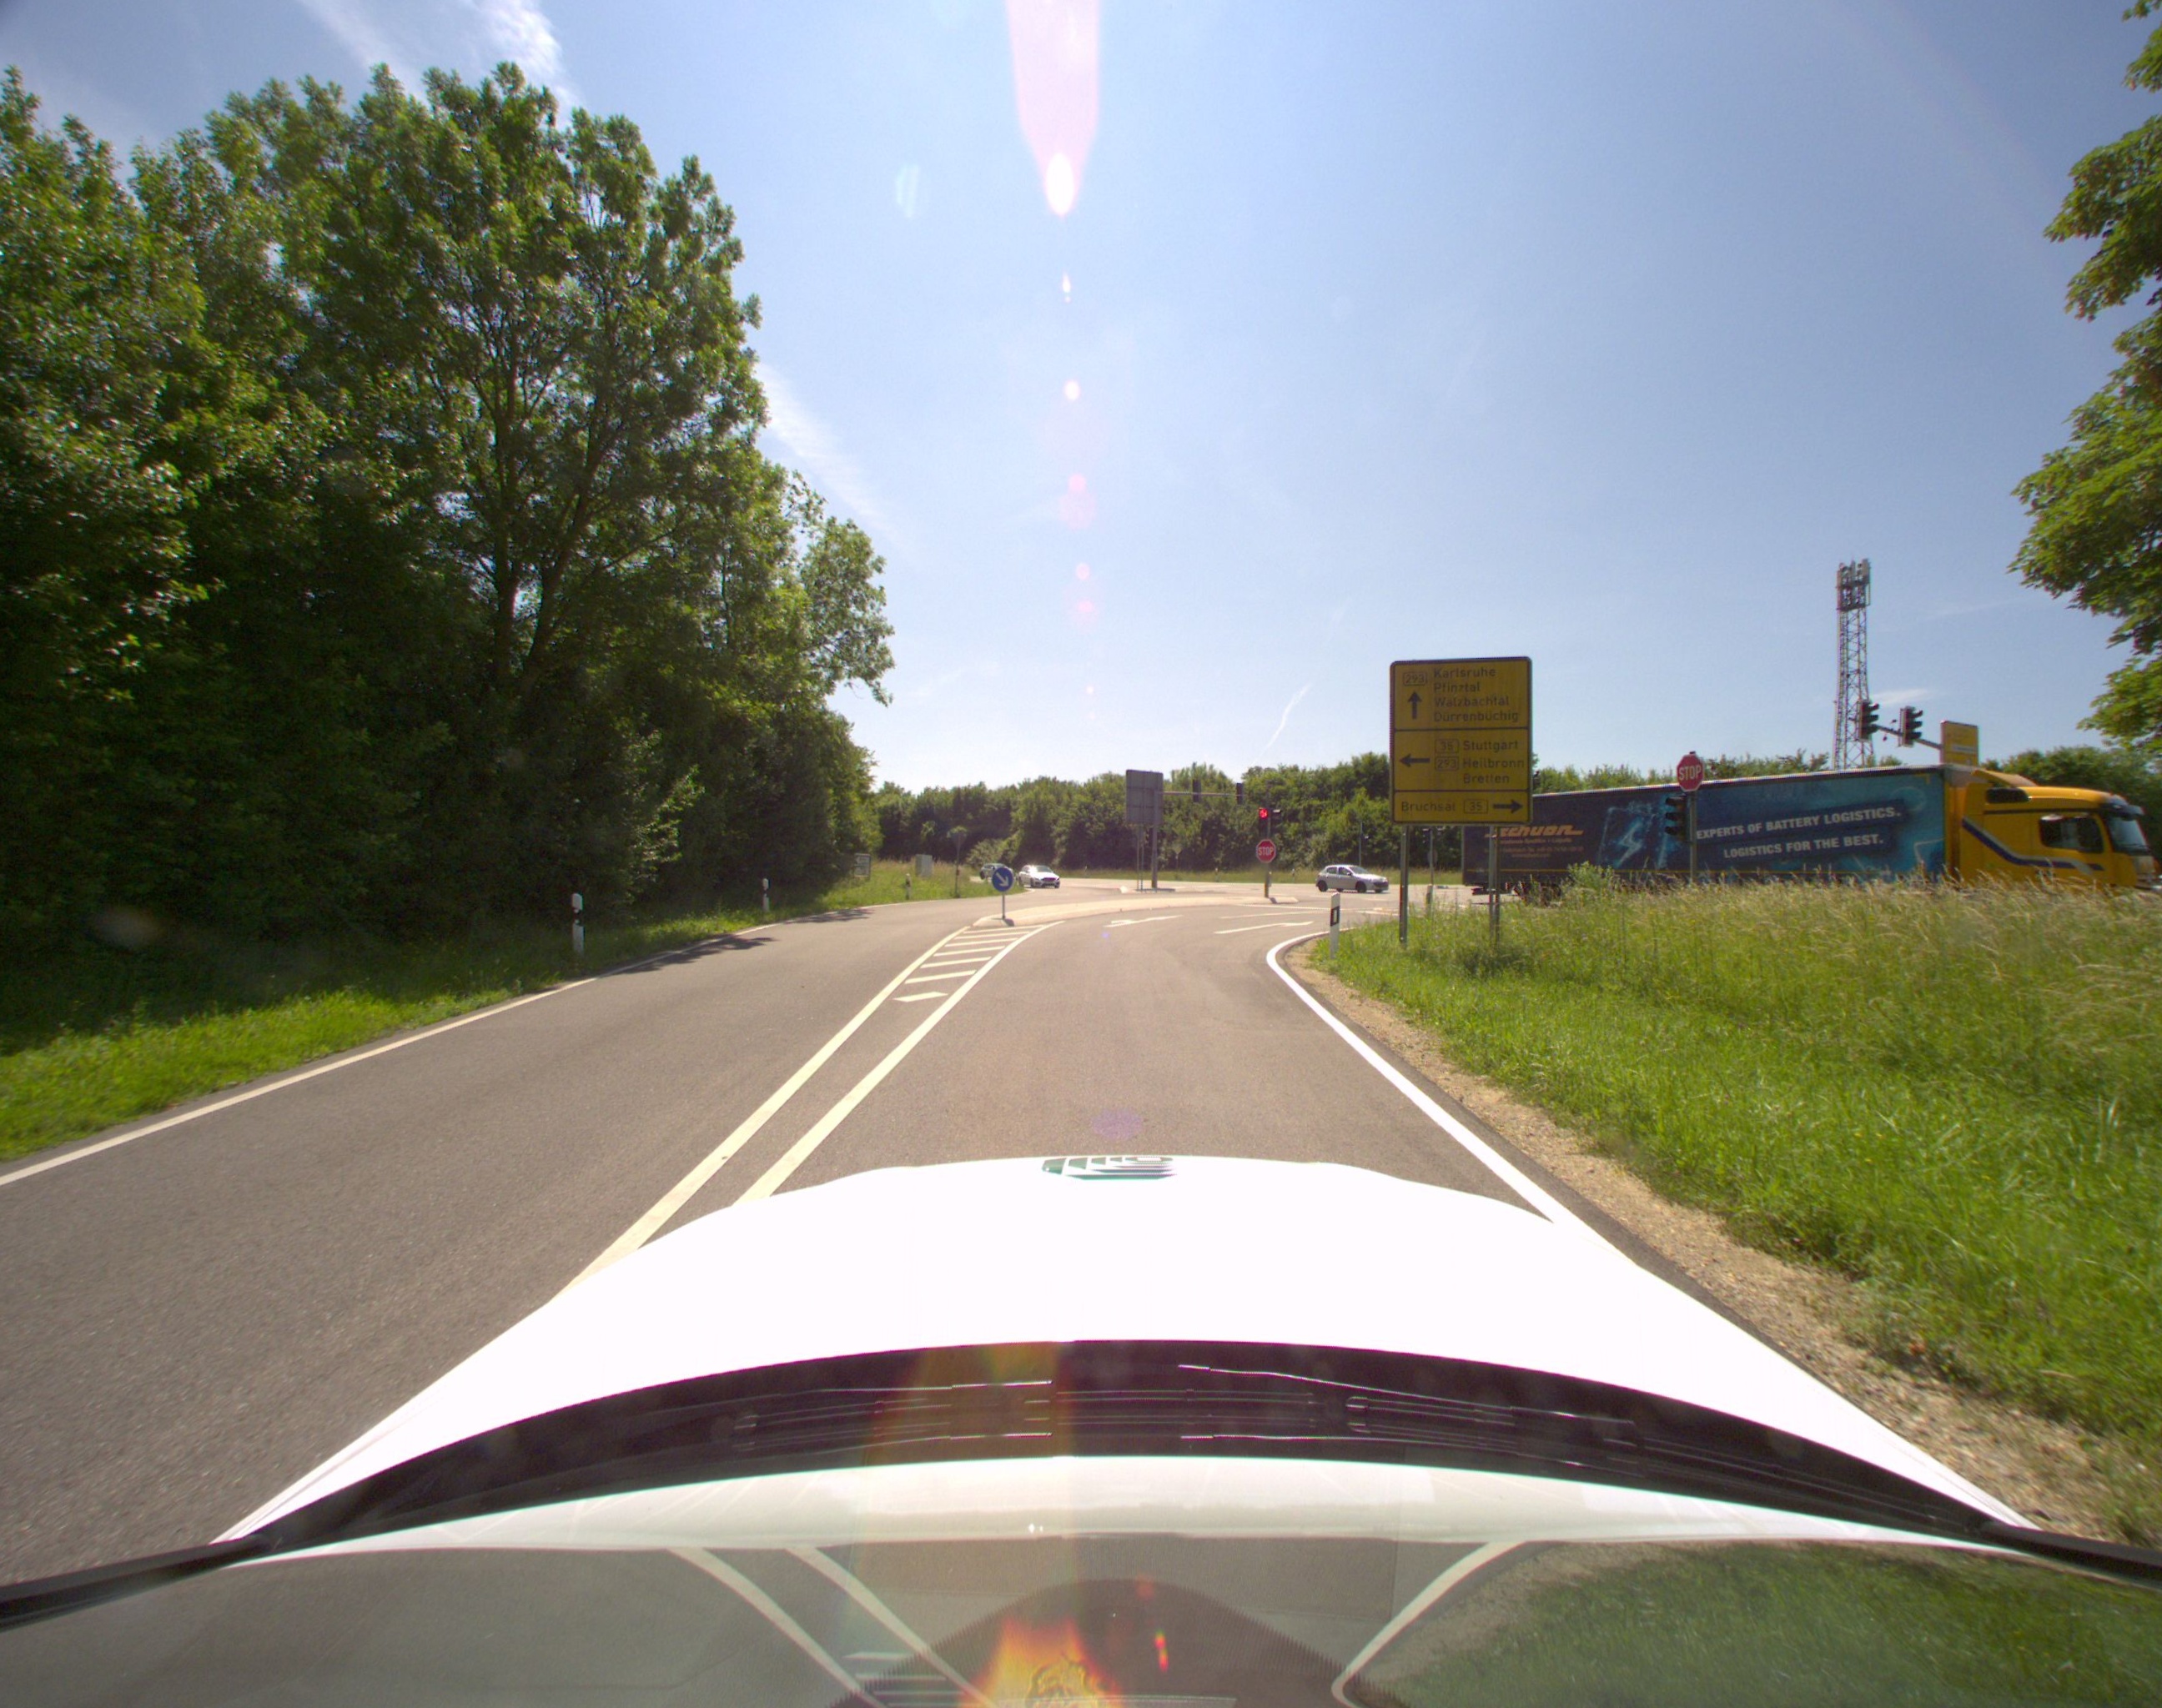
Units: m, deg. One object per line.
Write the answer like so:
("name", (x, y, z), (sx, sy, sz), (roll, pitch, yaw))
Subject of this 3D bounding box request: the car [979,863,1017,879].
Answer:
("car", (-7.748, 1.575, 75.968), (1.743, 1.404, 3.941), (-1, 0, -38))

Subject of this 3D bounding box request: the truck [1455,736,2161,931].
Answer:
("truck", (19.864, -0.374, 25.320), (2.859, 4.131, 16.659), (0, 0, -28))

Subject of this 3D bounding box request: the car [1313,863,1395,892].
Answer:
("car", (14.174, 1.211, 42.457), (1.826, 1.413, 3.743), (0, -1, -34))

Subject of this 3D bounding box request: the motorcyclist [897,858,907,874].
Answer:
("motorcyclist", (-21.411, 1.440, 97.308), (0.844, 1.843, 0.888), (-1, -1, -43))

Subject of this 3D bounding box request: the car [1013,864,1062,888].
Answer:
("car", (-2.909, 1.411, 53.241), (1.810, 1.412, 5.299), (1, -1, -20))

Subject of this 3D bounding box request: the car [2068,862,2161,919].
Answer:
("car", (29.666, 0.976, 21.615), (1.732, 1.470, 4.135), (-1, 0, -25))
